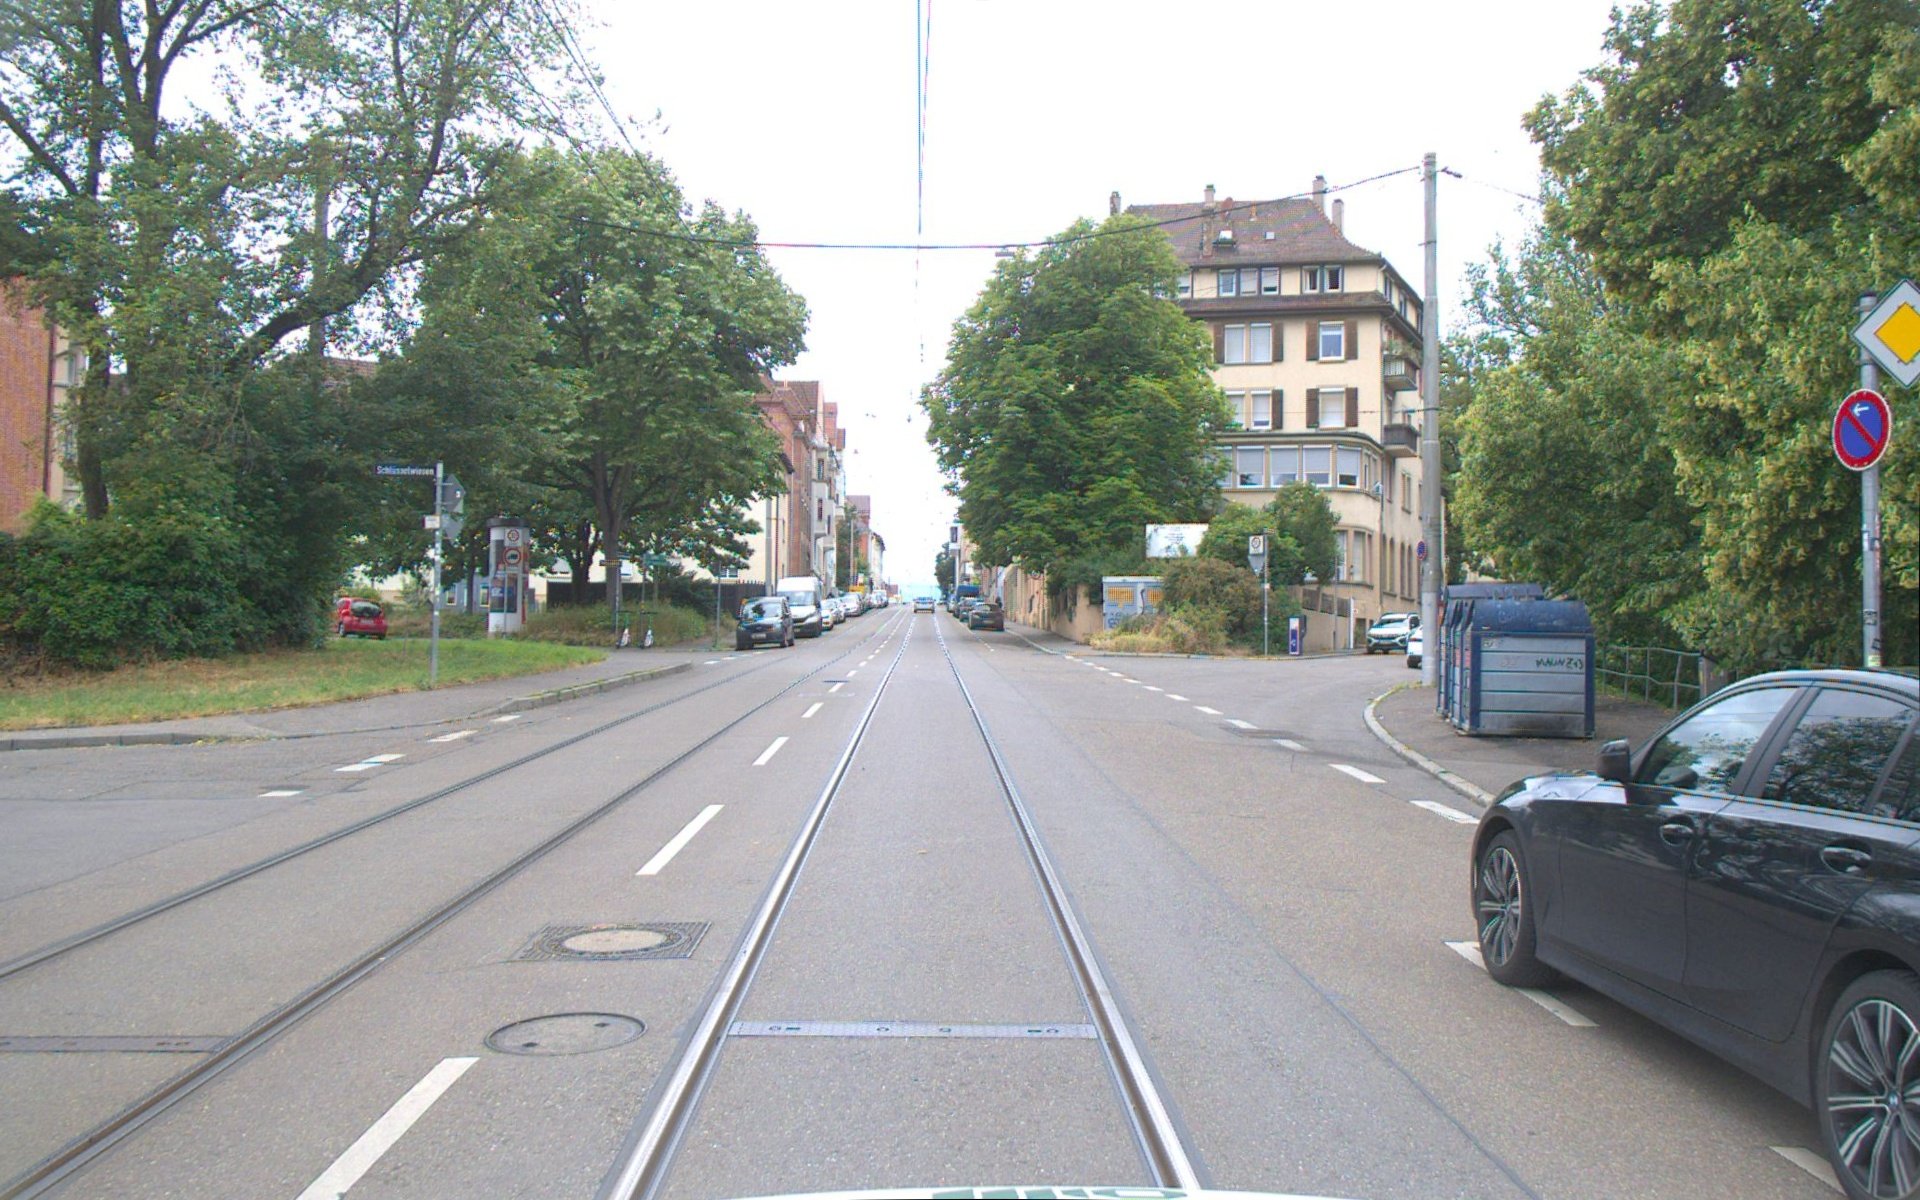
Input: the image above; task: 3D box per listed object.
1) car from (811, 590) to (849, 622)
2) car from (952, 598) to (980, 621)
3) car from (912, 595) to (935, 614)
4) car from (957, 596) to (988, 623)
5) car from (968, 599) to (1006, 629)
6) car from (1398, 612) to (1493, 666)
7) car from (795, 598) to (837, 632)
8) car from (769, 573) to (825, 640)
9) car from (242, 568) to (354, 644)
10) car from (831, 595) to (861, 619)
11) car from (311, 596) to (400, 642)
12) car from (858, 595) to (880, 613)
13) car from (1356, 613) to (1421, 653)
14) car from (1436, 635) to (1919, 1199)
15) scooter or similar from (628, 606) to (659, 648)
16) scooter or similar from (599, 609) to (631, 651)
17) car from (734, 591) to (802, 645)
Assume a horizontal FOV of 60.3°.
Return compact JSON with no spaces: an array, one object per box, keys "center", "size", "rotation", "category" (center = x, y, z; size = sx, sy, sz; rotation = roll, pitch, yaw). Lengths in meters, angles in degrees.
[{"center":[-7.902,0.390,101.020],"size":[1.953,1.843,4.312],"rotation":[1,-1,0],"category":"car"},{"center":[0.406,0.703,121.693],"size":[1.953,1.680,3.999],"rotation":[0,-1,-1],"category":"car"},{"center":[-3.179,0.414,143.778],"size":[1.953,1.525,4.310],"rotation":[1,-1,-2],"category":"car"},{"center":[0.815,0.654,110.032],"size":[1.953,1.747,3.999],"rotation":[0,-1,-1],"category":"car"},{"center":[1.413,0.760,88.337],"size":[1.953,1.557,4.311],"rotation":[1,-1,0],"category":"car"},{"center":[14.708,1.175,49.999],"size":[1.955,1.505,4.458],"rotation":[1,-1,27],"category":"car"},{"center":[-7.301,0.777,84.100],"size":[1.954,1.628,4.309],"rotation":[1,-1,-3],"category":"car"},{"center":[-7.228,0.307,73.790],"size":[2.186,2.813,5.795],"rotation":[1,-1,-3],"category":"car"},{"center":[-15.800,0.147,39.384],"size":[1.972,1.691,3.961],"rotation":[2,-1,-29],"category":"car"},{"center":[-8.120,0.506,117.605],"size":[1.885,1.629,3.999],"rotation":[1,-1,-1],"category":"car"},{"center":[-22.502,0.689,61.510],"size":[1.979,1.624,3.946],"rotation":[2,-1,-38],"category":"car"},{"center":[-8.625,0.431,157.124],"size":[1.953,1.629,3.998],"rotation":[1,-1,-2],"category":"car"},{"center":[17.581,1.353,67.757],"size":[1.953,1.579,3.998],"rotation":[1,-1,24],"category":"car"},{"center":[3.301,0.925,5.653],"size":[1.791,1.455,4.846],"rotation":[3,0,-2],"category":"car"},{"center":[-10.328,0.883,54.071],"size":[0.677,1.362,1.638],"rotation":[1,-1,0],"category":"scooter or similar"},{"center":[-11.265,0.979,54.079],"size":[0.677,1.362,1.638],"rotation":[1,-1,0],"category":"scooter or similar"},{"center":[-6.844,0.648,59.304],"size":[1.953,1.840,4.000],"rotation":[1,-1,0],"category":"car"}]
